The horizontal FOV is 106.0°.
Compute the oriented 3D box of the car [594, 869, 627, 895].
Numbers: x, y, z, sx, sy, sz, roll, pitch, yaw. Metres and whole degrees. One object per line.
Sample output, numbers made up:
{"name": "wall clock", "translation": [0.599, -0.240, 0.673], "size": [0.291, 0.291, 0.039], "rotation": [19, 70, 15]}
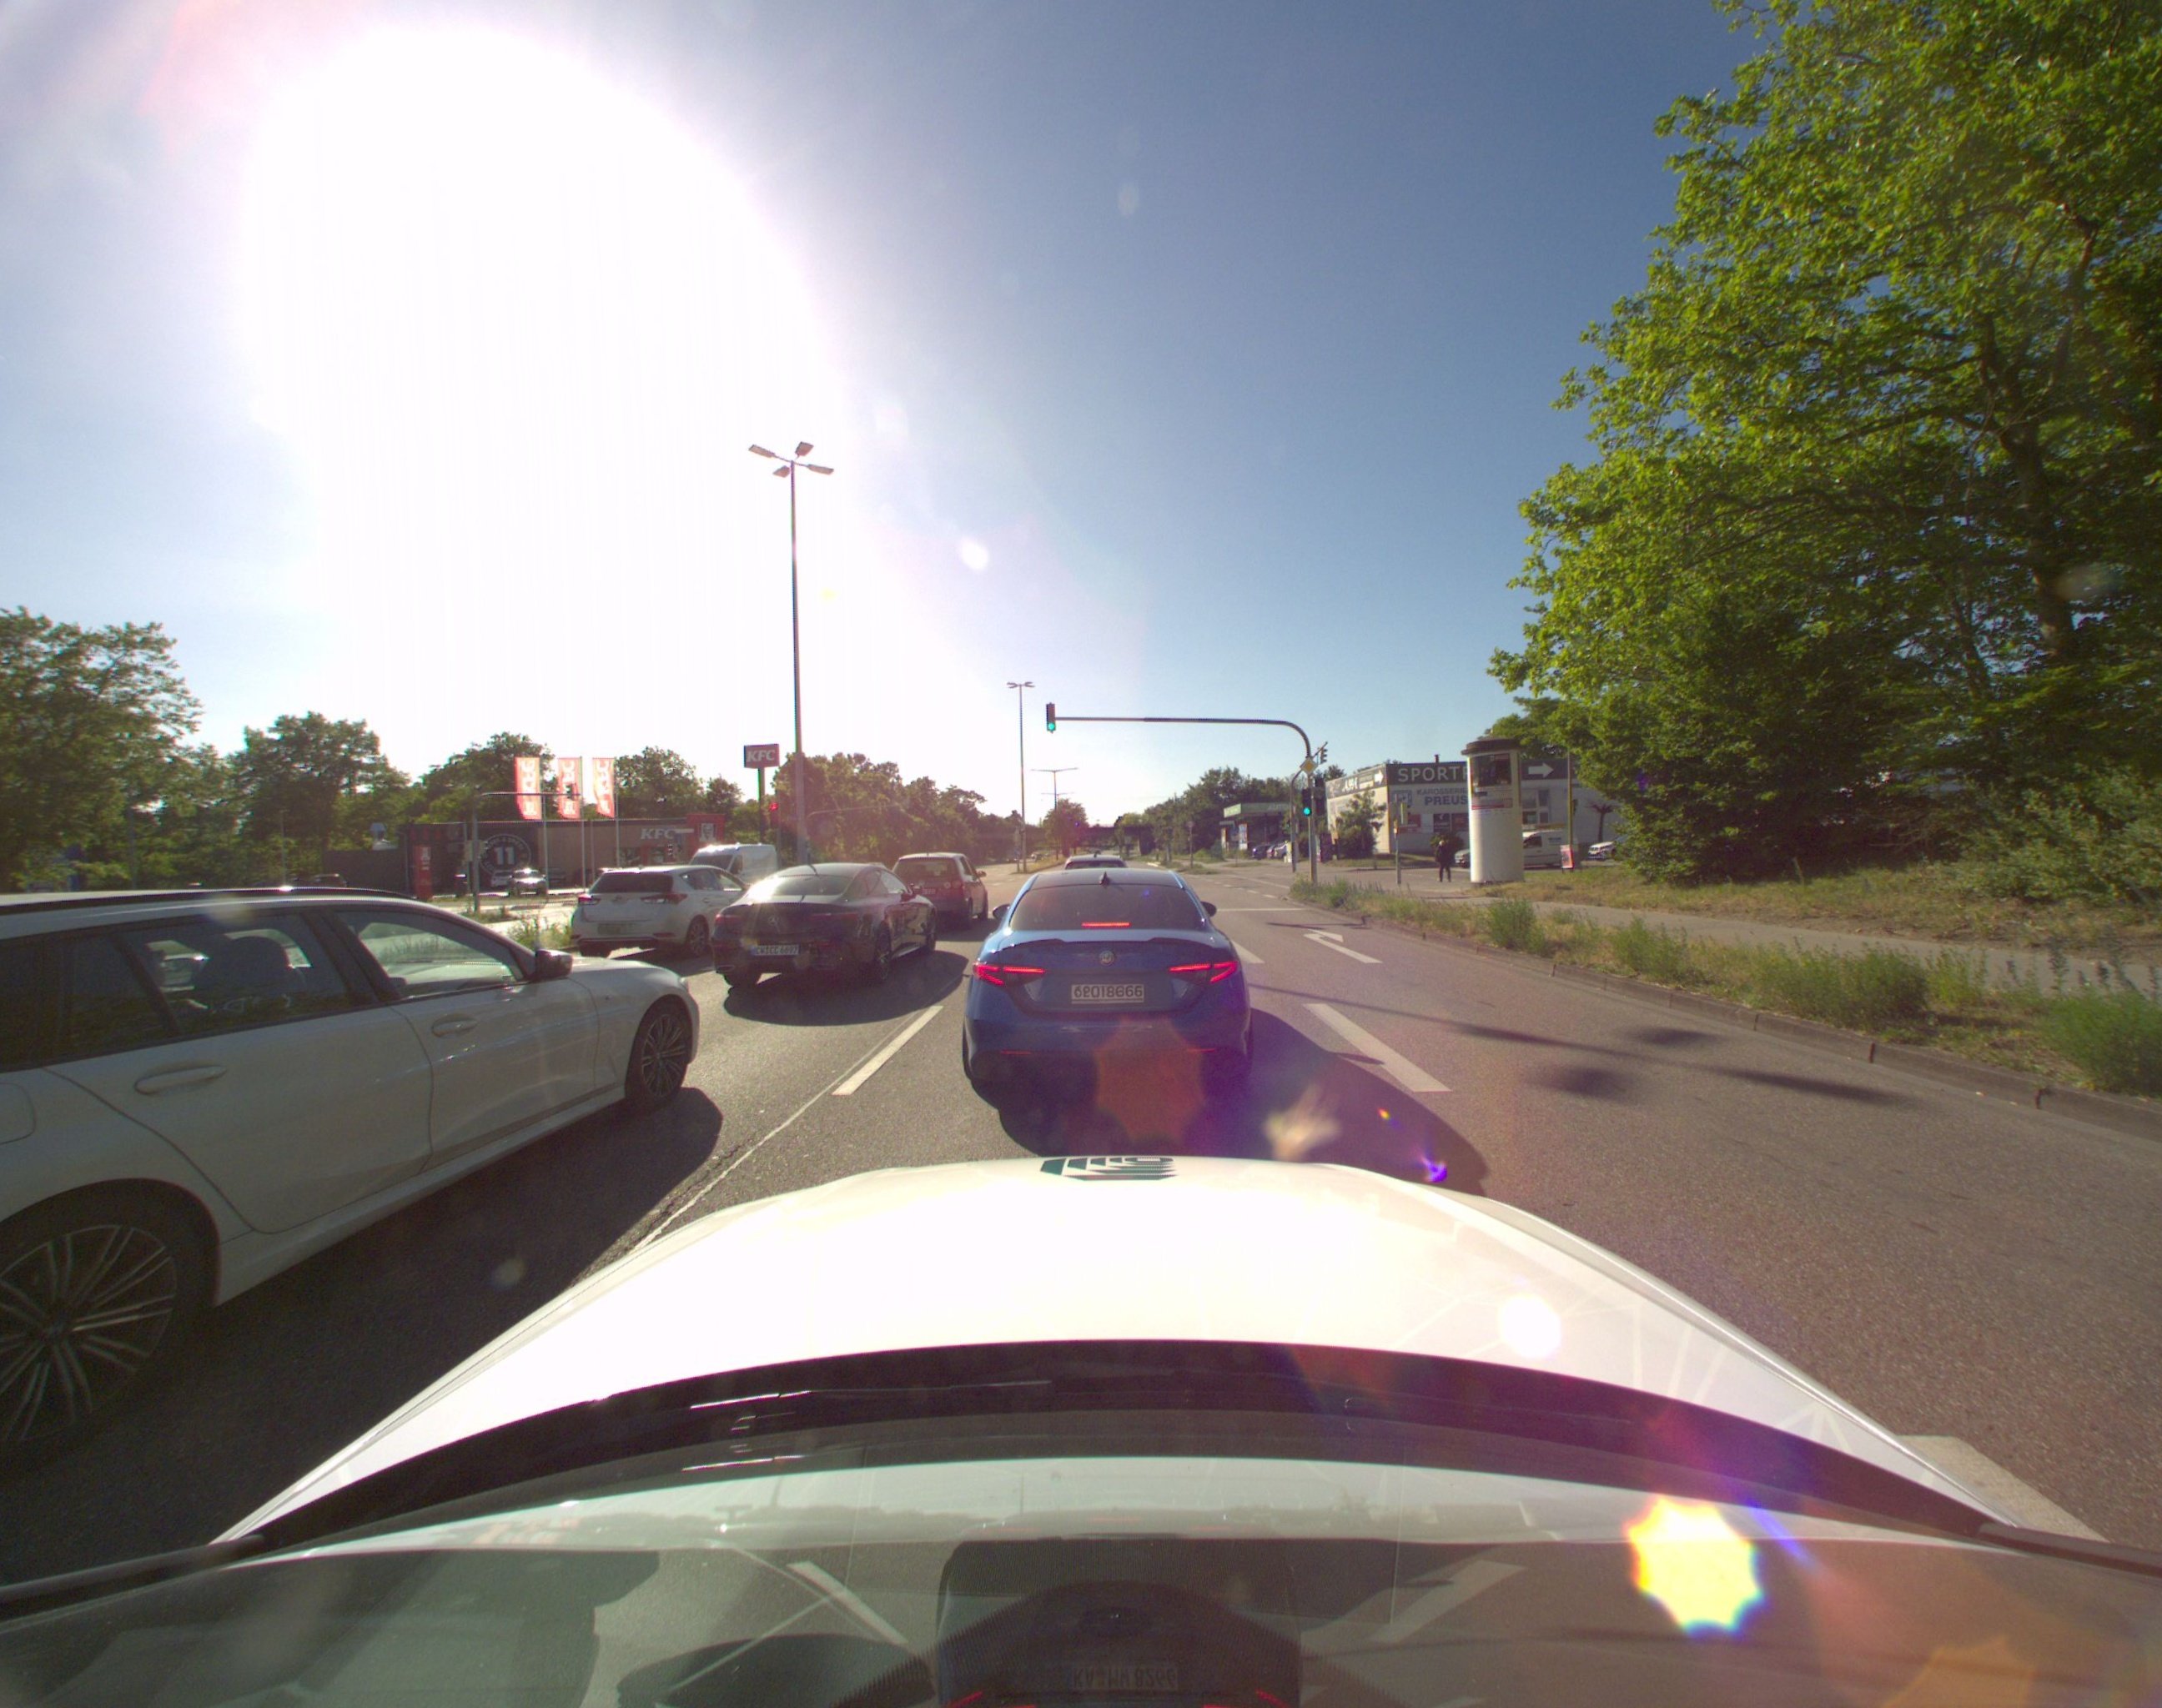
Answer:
{"name": "car", "translation": [-33.669, 1.939, 58.354], "size": [1.920, 1.752, 4.315], "rotation": [0, -1, -29]}

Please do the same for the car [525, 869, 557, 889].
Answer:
{"name": "car", "translation": [-43.148, 1.962, 65.073], "size": [1.670, 1.471, 3.872], "rotation": [0, -1, -40]}

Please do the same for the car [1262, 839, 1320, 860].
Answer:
{"name": "car", "translation": [17.983, -0.375, 69.866], "size": [4.470, 1.454, 1.860], "rotation": [-4, 0, 3]}

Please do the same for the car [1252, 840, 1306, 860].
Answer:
{"name": "car", "translation": [17.942, -0.346, 73.920], "size": [4.470, 1.454, 1.860], "rotation": [-4, 0, 3]}

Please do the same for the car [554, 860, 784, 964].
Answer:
{"name": "car", "translation": [-6.761, 0.859, 13.946], "size": [1.753, 1.490, 4.197], "rotation": [0, -1, 1]}

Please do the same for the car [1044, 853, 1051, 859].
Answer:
{"name": "car", "translation": [-9.327, 0.576, 225.430], "size": [1.609, 1.559, 3.359], "rotation": [0, -1, 2]}

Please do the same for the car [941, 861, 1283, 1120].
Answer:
{"name": "car", "translation": [0.205, 0.778, 6.728], "size": [1.889, 1.418, 4.403], "rotation": [0, 0, 1]}

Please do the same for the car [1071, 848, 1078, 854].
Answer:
{"name": "car", "translation": [-2.112, -0.946, 258.525], "size": [1.752, 1.490, 4.480], "rotation": [-3, 0, 2]}

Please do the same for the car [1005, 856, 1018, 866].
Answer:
{"name": "car", "translation": [-12.233, 1.213, 143.909], "size": [1.752, 1.490, 4.480], "rotation": [-3, 0, 2]}

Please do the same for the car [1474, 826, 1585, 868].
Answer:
{"name": "car", "translation": [21.633, -0.337, 39.393], "size": [4.367, 1.801, 1.765], "rotation": [-3, 1, 0]}

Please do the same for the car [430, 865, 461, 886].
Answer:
{"name": "car", "translation": [-47.640, 1.583, 61.003], "size": [1.670, 1.471, 3.872], "rotation": [0, -1, -40]}

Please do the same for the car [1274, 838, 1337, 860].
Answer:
{"name": "car", "translation": [17.700, -0.417, 64.336], "size": [4.470, 1.454, 1.860], "rotation": [-4, 0, 3]}

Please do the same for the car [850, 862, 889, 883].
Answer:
{"name": "car", "translation": [-17.353, 1.485, 66.938], "size": [1.752, 1.490, 4.480], "rotation": [-5, 0, 2]}

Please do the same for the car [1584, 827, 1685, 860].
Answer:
{"name": "car", "translation": [29.023, -0.532, 42.764], "size": [4.028, 1.490, 1.782], "rotation": [-3, 0, -1]}

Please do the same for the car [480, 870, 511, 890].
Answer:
{"name": "car", "translation": [-45.641, 2.030, 63.419], "size": [1.670, 1.471, 3.872], "rotation": [0, -1, -40]}

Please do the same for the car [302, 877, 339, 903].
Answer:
{"name": "car", "translation": [-52.374, 2.469, 56.108], "size": [1.670, 1.673, 3.897], "rotation": [0, -1, -40]}

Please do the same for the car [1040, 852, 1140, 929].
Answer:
{"name": "car", "translation": [0.202, 0.699, 17.301], "size": [1.844, 1.418, 4.403], "rotation": [0, 0, 1]}

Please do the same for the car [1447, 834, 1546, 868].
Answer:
{"name": "car", "translation": [21.764, -0.191, 42.728], "size": [4.273, 1.549, 1.765], "rotation": [-3, 1, 0]}

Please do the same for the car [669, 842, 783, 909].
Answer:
{"name": "car", "translation": [-14.793, 0.844, 34.396], "size": [2.015, 2.447, 5.822], "rotation": [-5, 0, 1]}

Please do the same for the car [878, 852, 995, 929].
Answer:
{"name": "car", "translation": [-3.040, 0.721, 18.046], "size": [1.753, 1.490, 4.403], "rotation": [0, 0, 1]}

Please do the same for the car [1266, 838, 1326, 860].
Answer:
{"name": "car", "translation": [17.706, -0.403, 67.117], "size": [4.470, 1.454, 1.860], "rotation": [-4, 0, 3]}

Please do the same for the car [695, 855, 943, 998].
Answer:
{"name": "car", "translation": [-3.161, 0.785, 10.869], "size": [1.790, 1.490, 4.476], "rotation": [0, 0, 1]}

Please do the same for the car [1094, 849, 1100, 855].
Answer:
{"name": "car", "translation": [4.931, -0.529, 255.059], "size": [1.884, 1.816, 4.001], "rotation": [0, -1, 2]}

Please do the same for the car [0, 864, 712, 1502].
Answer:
{"name": "car", "translation": [-3.429, 0.805, 3.319], "size": [1.779, 1.490, 4.403], "rotation": [0, 0, 1]}

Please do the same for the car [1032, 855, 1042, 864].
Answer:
{"name": "car", "translation": [-10.113, 1.288, 186.761], "size": [1.986, 2.014, 4.001], "rotation": [0, -1, 2]}

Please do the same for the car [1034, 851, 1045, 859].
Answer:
{"name": "car", "translation": [-8.170, 0.271, 160.835], "size": [1.752, 1.490, 3.839], "rotation": [-3, 0, 2]}

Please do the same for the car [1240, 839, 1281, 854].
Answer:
{"name": "car", "translation": [21.385, -0.873, 97.029], "size": [4.532, 1.490, 1.766], "rotation": [-4, 0, 3]}

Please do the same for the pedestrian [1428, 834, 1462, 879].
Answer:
{"name": "pedestrian", "translation": [14.245, 0.097, 31.919], "size": [0.922, 1.735, 0.939], "rotation": [0, -1, 1]}

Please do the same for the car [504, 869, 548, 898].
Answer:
{"name": "car", "translation": [-37.339, 1.944, 54.874], "size": [2.005, 1.765, 4.315], "rotation": [0, -1, -29]}
